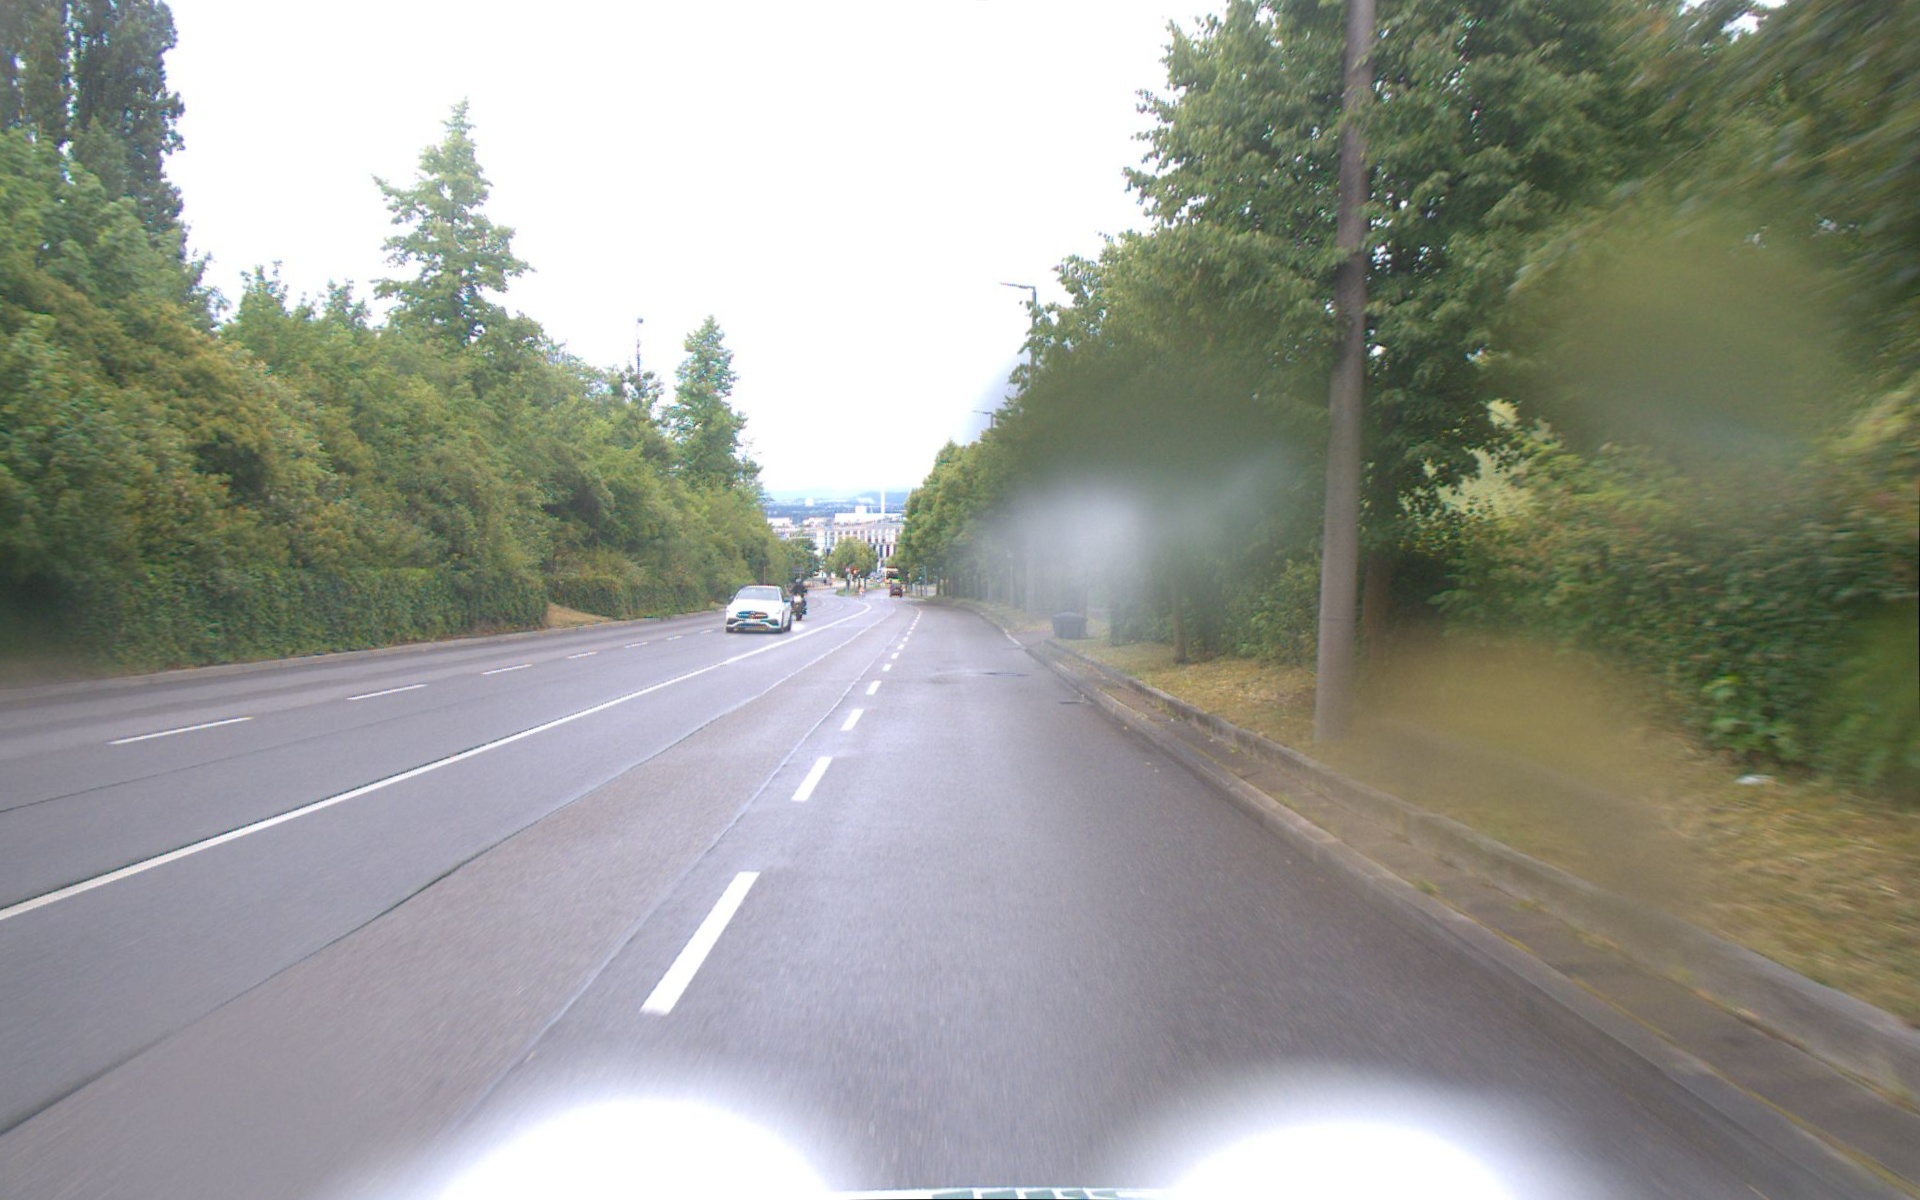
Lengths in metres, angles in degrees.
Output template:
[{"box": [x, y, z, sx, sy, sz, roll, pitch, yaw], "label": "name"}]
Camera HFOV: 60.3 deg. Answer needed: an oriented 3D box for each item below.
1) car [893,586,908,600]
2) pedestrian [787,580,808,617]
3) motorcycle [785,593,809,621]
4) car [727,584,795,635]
[{"box": [-7.841, -0.890, 217.892, 1.812, 1.731, 3.790, 2, -1, -4], "label": "car"}, {"box": [-6.931, -0.056, 70.490, 0.789, 1.568, 1.111, 1, 0, -1], "label": "pedestrian"}, {"box": [-6.942, 0.296, 70.471, 0.789, 1.151, 2.231, 1, 0, -1], "label": "motorcycle"}, {"box": [-6.434, 0.278, 53.865, 1.680, 1.531, 4.516, 2, 0, -1], "label": "car"}]
